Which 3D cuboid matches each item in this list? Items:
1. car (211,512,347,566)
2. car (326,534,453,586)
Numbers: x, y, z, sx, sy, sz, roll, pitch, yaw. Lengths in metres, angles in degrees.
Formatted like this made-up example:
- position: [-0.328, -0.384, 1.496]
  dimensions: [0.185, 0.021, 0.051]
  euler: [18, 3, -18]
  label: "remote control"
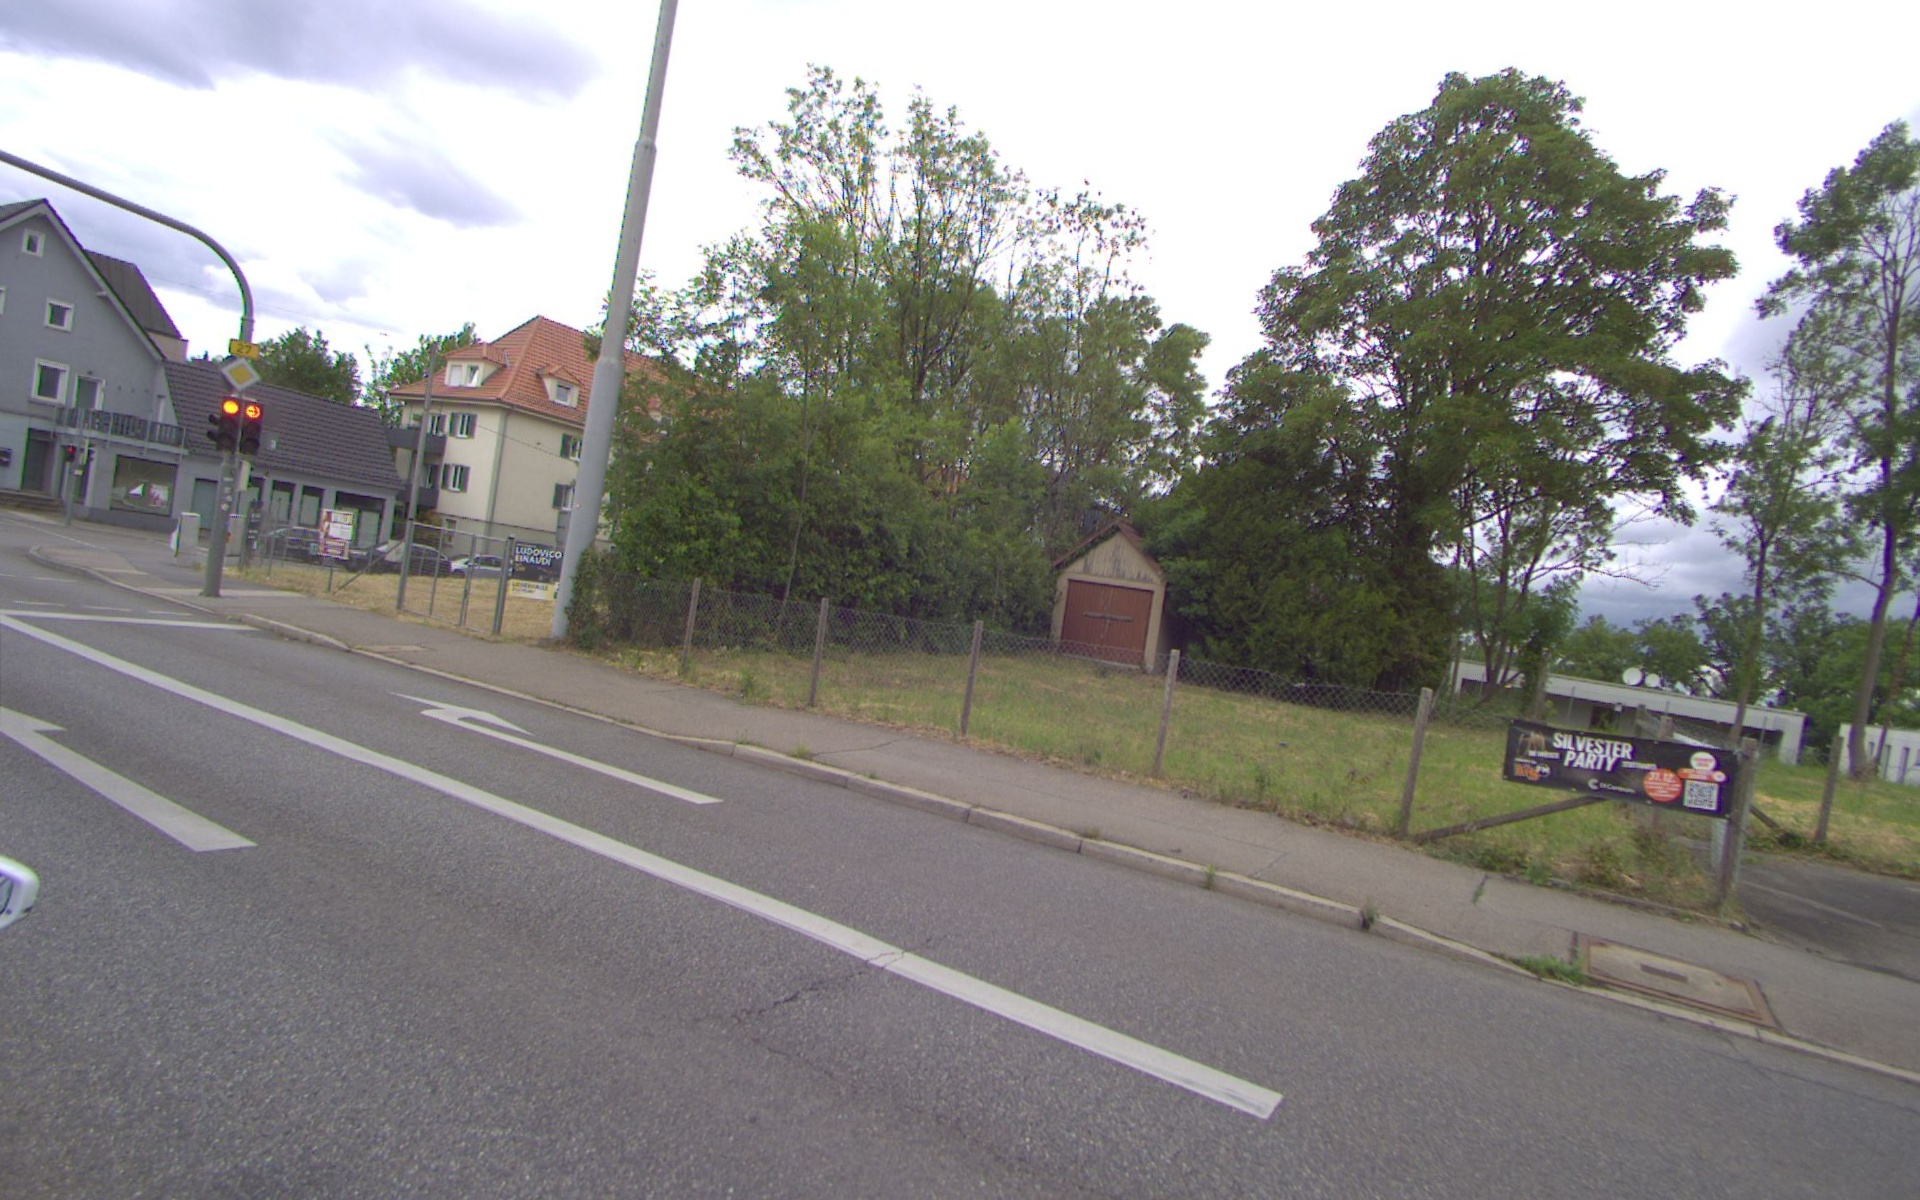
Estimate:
- position: [-27.662, -2.445, 40.982]
  dimensions: [1.769, 1.386, 4.099]
  euler: [8, -2, 31]
  label: "car"
- position: [-23.555, -1.617, 41.679]
  dimensions: [1.769, 1.386, 4.099]
  euler: [8, -2, 31]
  label: "car"
